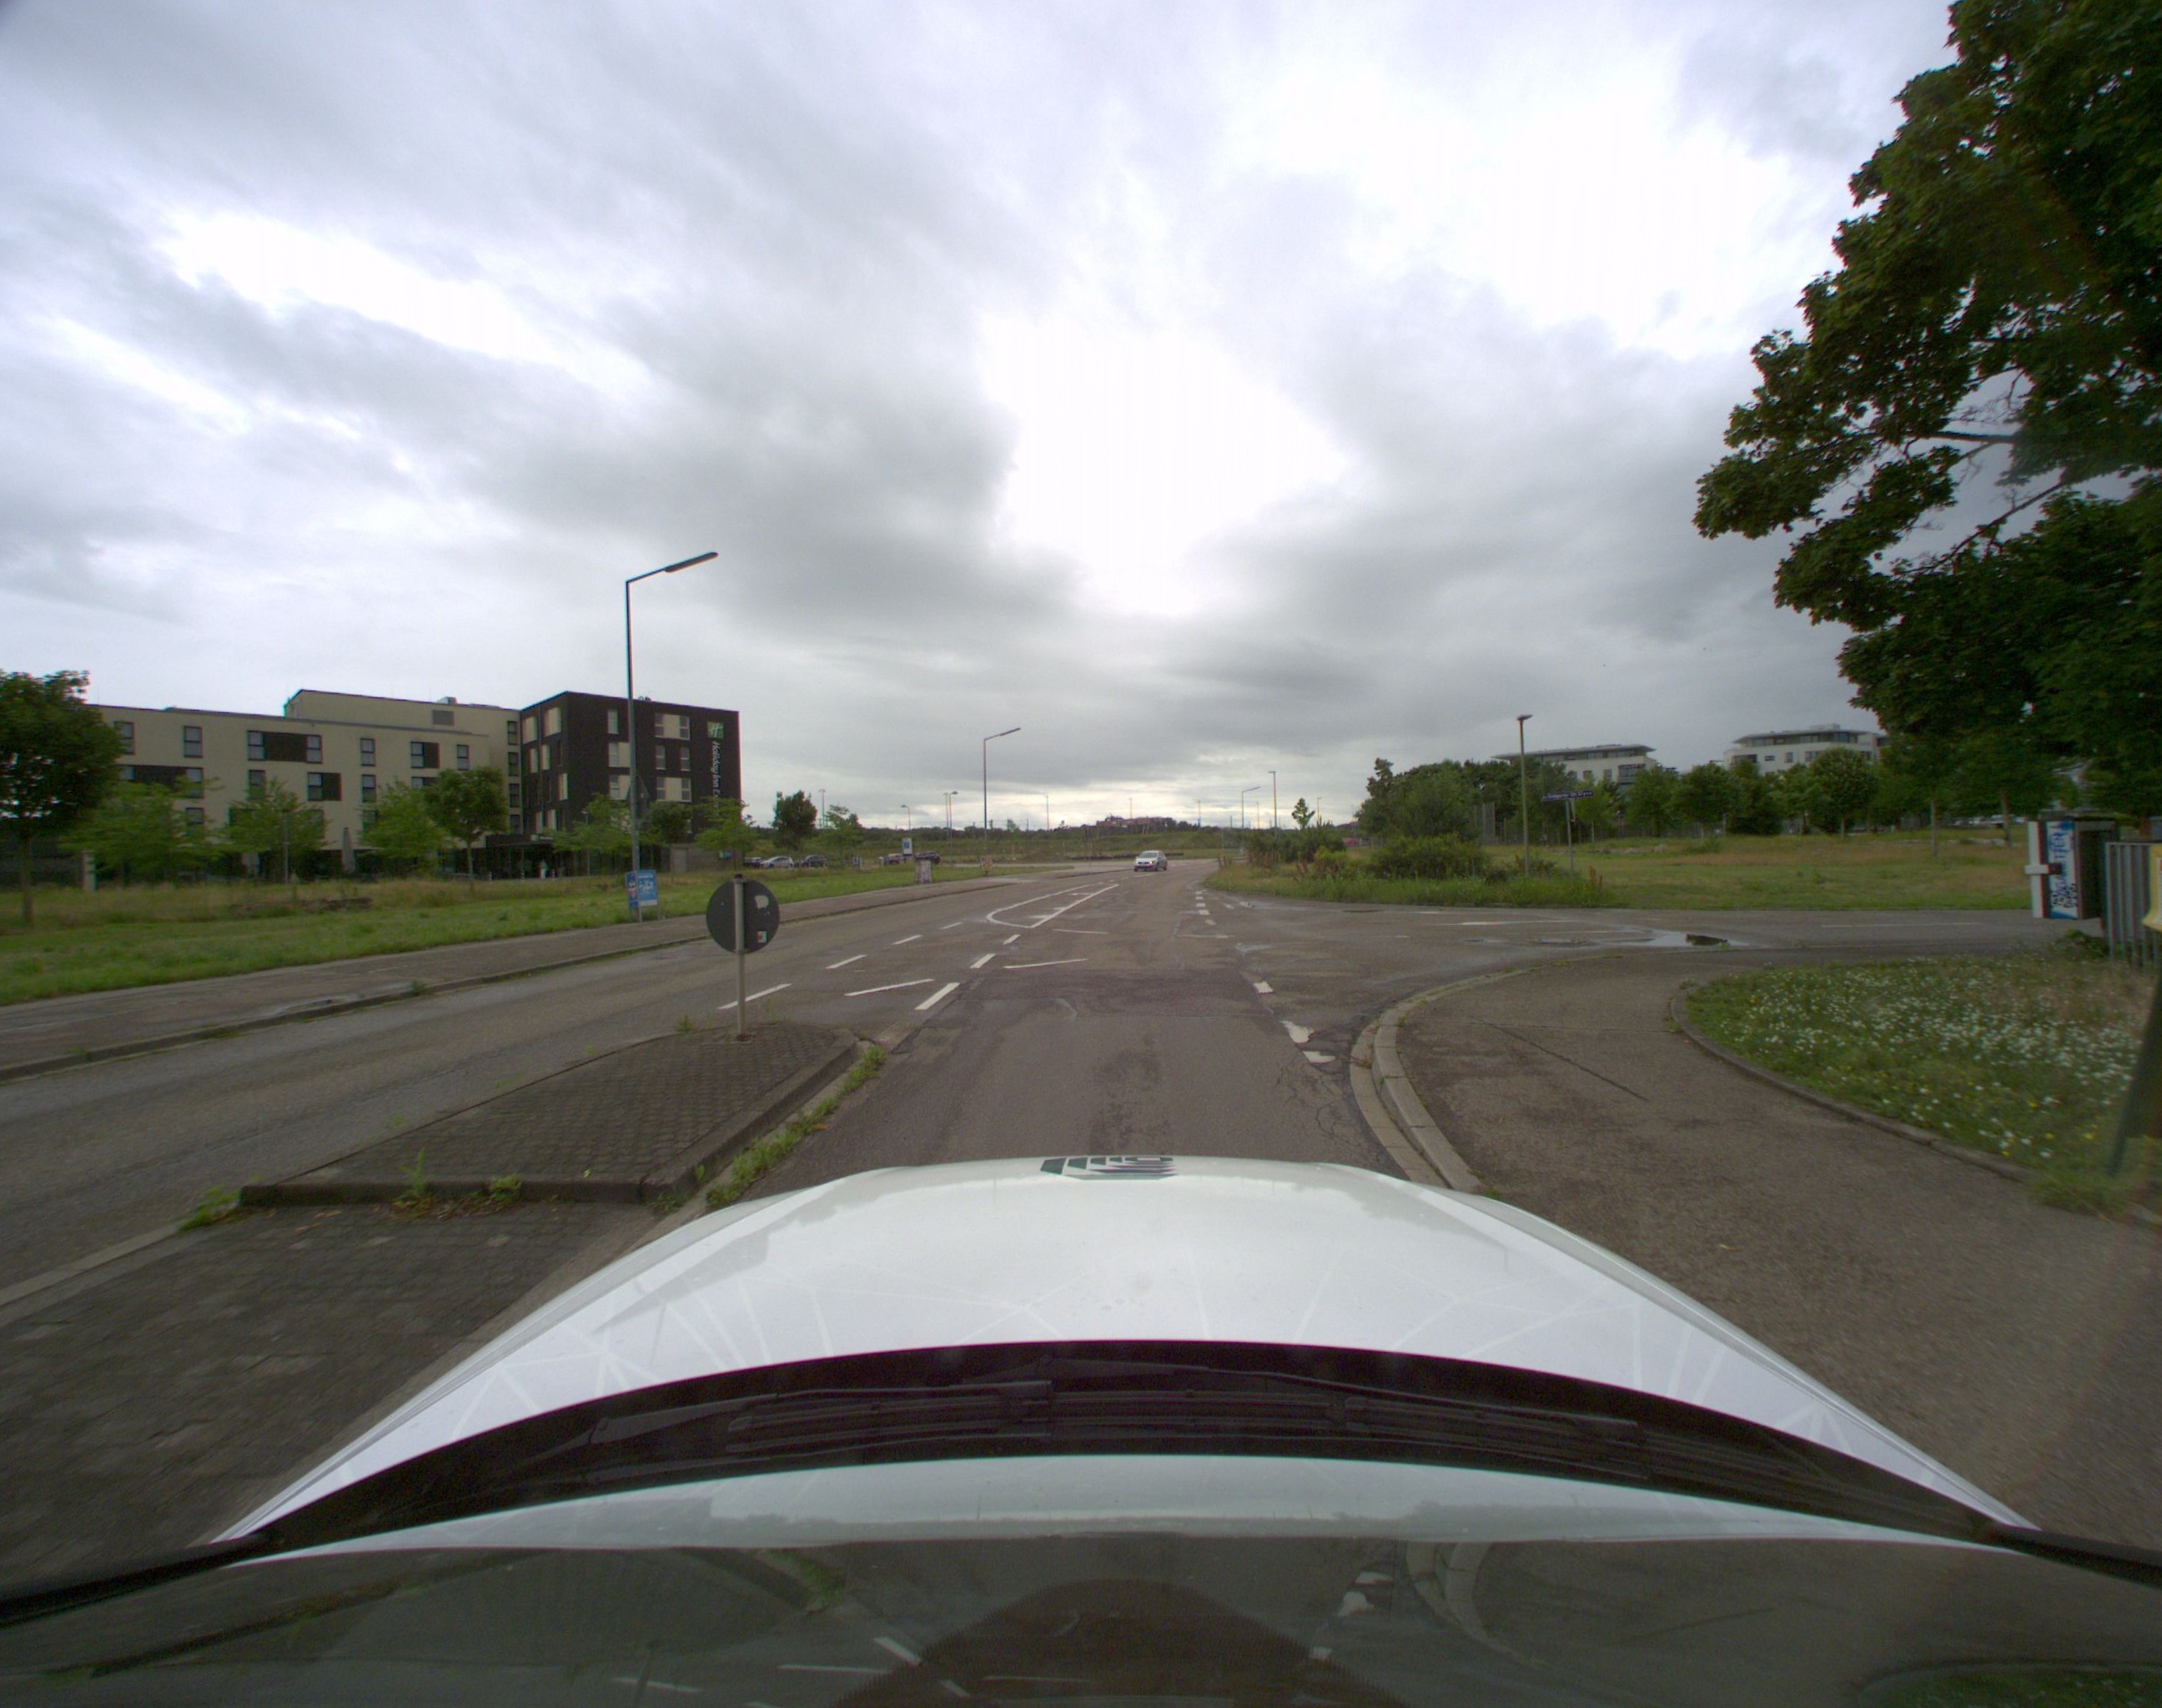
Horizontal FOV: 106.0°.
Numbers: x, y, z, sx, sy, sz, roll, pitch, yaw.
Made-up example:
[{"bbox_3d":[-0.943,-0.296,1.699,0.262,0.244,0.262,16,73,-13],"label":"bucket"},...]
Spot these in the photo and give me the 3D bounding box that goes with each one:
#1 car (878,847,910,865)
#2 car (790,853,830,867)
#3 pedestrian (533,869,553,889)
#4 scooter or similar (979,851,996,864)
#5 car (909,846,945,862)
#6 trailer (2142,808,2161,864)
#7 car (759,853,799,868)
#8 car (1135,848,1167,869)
[{"bbox_3d":[-22.957,0.251,99.806,3.950,2.013,2.012,-1,2,45],"label":"car"},{"bbox_3d":[-30.706,0.642,92.387,1.676,1.442,4.026,-1,2,38],"label":"car"},{"bbox_3d":[-44.207,2.024,66.913,0.942,1.570,0.881,-1,1,22],"label":"pedestrian"},{"bbox_3d":[-8.799,0.317,76.321,1.452,1.168,0.573,-1,0,13],"label":"scooter or similar"},{"bbox_3d":[-18.159,-0.010,96.023,3.949,1.822,2.013,-1,2,40],"label":"car"},{"bbox_3d":[31.665,-0.562,21.987,4.099,1.532,1.756,-2,1,-5],"label":"trailer"},{"bbox_3d":[-36.079,0.750,97.363,1.974,1.517,4.180,-1,1,32],"label":"car"},{"bbox_3d":[5.160,0.317,59.957,1.659,1.461,4.073,0,1,15],"label":"car"}]
